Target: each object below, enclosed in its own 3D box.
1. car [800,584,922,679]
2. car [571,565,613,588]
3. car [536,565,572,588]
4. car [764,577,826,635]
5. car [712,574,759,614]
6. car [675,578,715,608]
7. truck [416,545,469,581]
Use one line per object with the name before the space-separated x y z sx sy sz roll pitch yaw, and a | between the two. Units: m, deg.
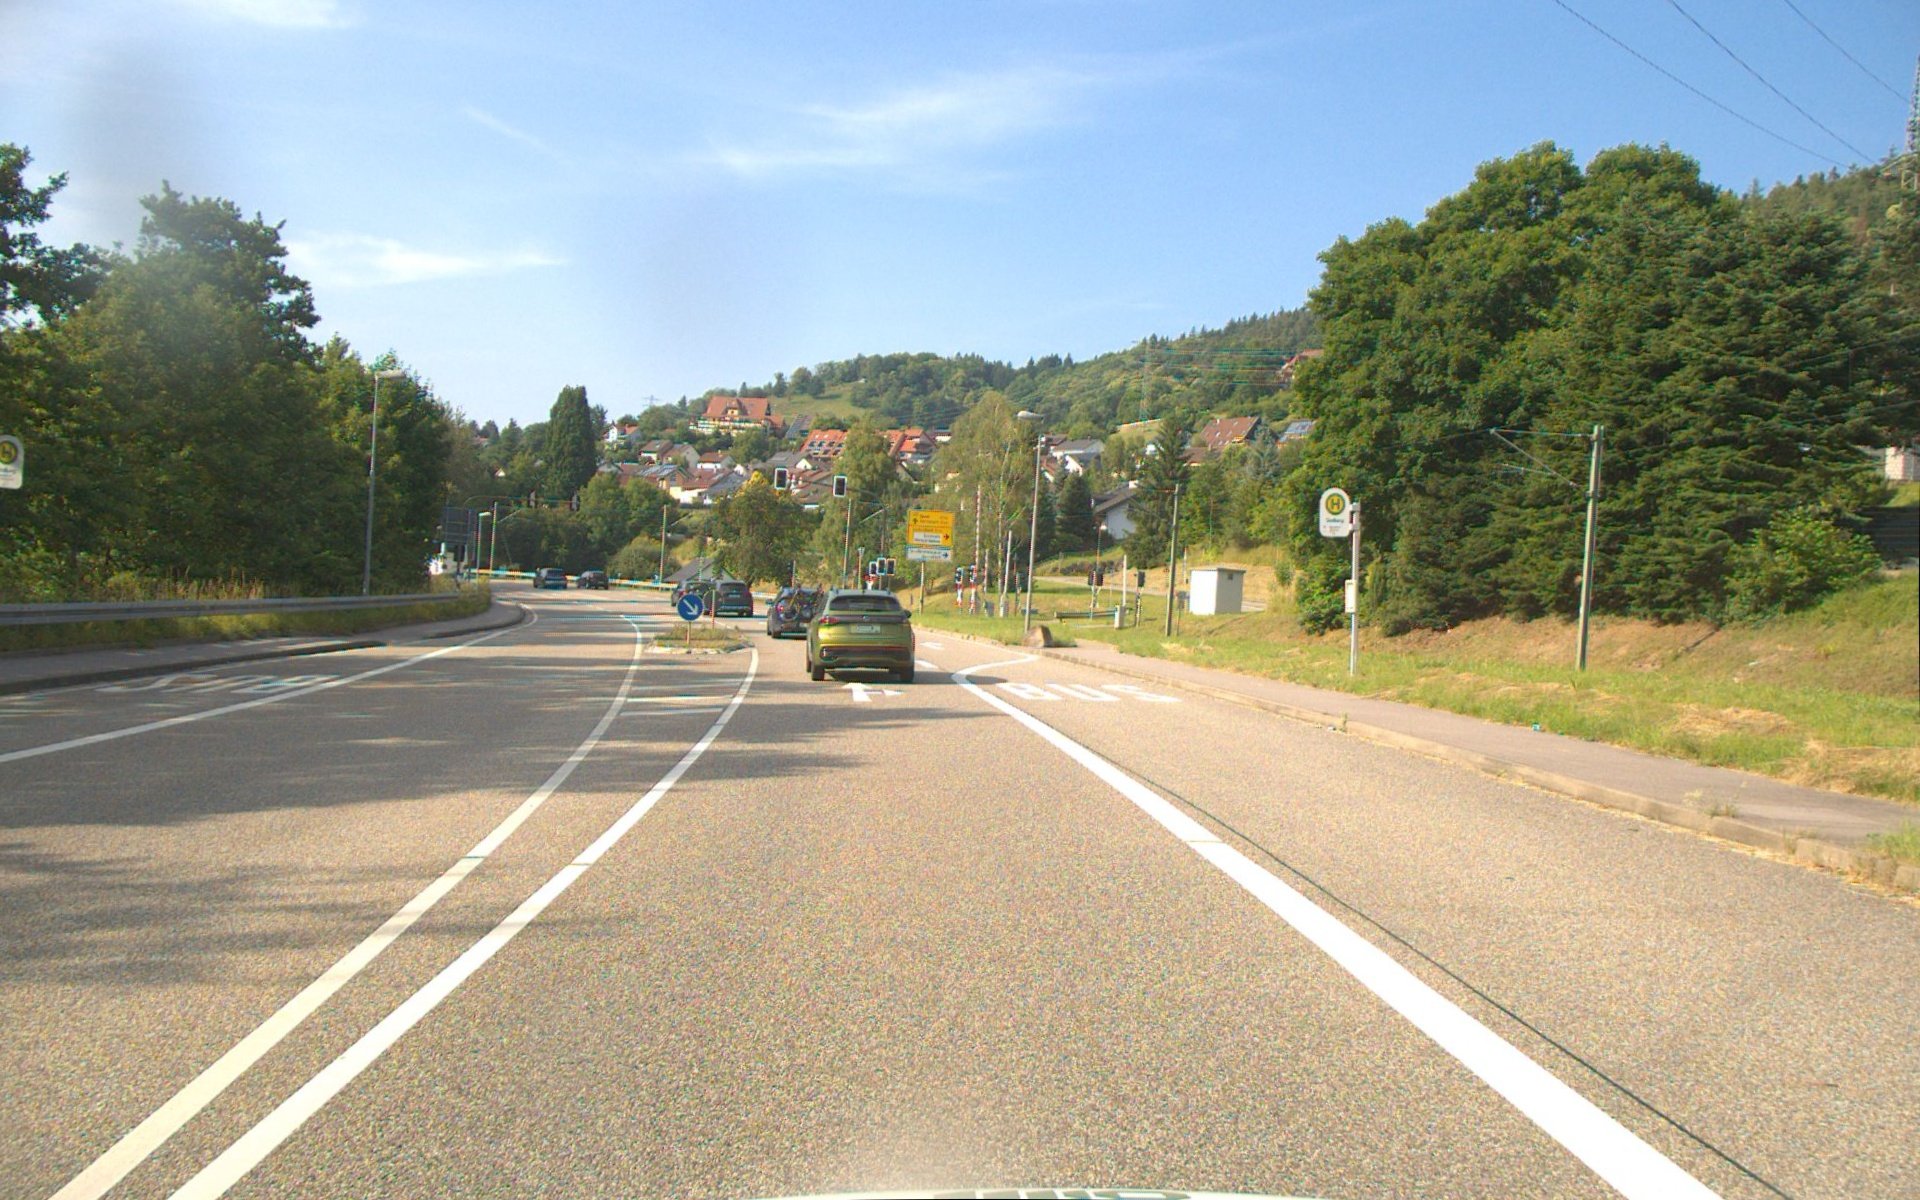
car | -1.761 0.492 28.375 1.683 1.480 3.992 1 1 -9
car | -29.844 -1.911 134.032 1.976 1.775 3.953 1 1 -34
car | -32.655 -1.898 132.999 2.038 1.843 3.967 1 1 -26
car | -4.790 0.151 47.677 1.636 1.586 3.993 1 0 -8
car | -10.143 -0.287 74.524 1.847 1.716 3.989 1 0 -12
car | -14.473 -0.406 90.206 1.817 1.553 3.650 2 0 -14
truck | -49.236 -3.532 157.339 2.694 3.137 6.023 4 -1 -39
